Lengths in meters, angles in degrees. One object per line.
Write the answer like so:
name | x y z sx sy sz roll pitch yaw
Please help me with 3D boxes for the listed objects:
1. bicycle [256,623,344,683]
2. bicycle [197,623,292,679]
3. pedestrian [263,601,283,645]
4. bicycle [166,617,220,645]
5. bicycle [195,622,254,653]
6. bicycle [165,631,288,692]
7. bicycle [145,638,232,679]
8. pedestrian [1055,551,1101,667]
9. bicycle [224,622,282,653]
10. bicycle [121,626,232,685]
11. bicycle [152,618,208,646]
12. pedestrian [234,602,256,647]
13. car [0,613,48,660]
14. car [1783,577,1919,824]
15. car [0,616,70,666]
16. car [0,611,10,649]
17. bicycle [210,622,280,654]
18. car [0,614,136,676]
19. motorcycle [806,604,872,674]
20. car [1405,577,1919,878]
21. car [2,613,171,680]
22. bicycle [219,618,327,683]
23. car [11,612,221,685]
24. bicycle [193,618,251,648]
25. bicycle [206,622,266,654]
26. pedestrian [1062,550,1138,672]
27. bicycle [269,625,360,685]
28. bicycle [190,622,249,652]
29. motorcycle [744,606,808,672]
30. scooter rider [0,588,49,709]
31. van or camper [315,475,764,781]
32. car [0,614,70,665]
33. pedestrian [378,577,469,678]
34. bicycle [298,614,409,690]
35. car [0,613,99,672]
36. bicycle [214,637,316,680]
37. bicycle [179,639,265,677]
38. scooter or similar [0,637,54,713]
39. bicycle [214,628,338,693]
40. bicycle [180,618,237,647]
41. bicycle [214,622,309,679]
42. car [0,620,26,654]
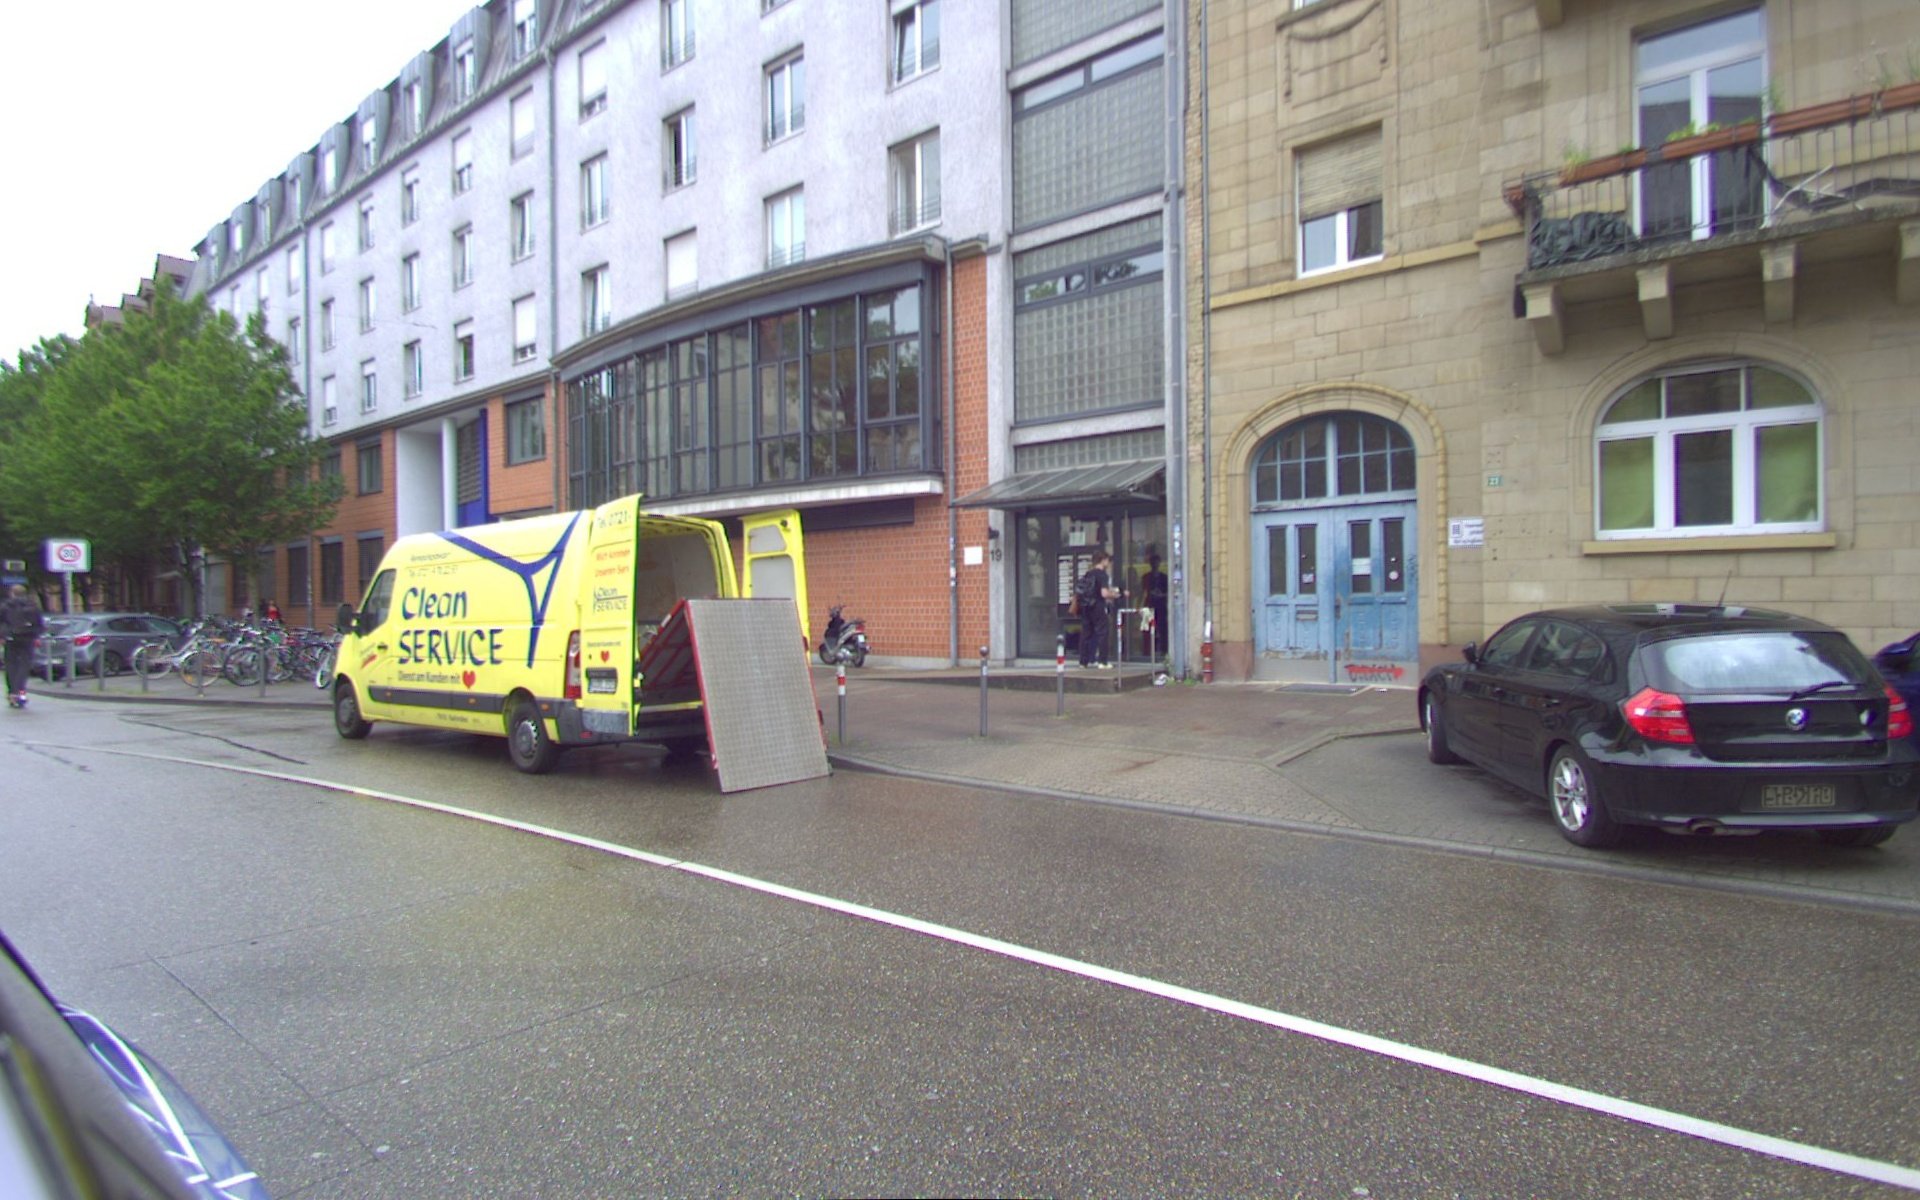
bicycle | -13.279 1.055 20.386 1.439 1.111 0.462 -2 1 -36
bicycle | -15.524 1.087 21.990 0.519 1.114 1.591 -1 1 35
pedestrian | -25.269 0.845 37.222 0.425 1.622 0.508 -1 -1 41
bicycle | -28.841 1.155 38.059 0.464 0.992 1.573 -1 -1 32
bicycle | -24.713 1.248 34.035 0.444 0.992 1.573 -1 -1 32
bicycle | -13.795 1.132 19.078 0.519 1.000 1.778 -1 1 38
bicycle | -17.134 1.288 22.499 0.497 0.811 1.454 -1 1 43
pedestrian | 1.831 0.138 15.734 0.467 1.761 0.608 0 -2 -24
bicycle | -23.847 1.256 34.168 0.444 0.992 1.573 -1 -1 32
bicycle | -16.591 1.145 21.467 0.472 1.114 1.791 -1 1 35
bicycle | -28.532 1.147 37.033 0.464 0.992 1.573 -1 -1 32
pedestrian | -25.926 0.890 36.703 0.372 1.622 0.598 -1 -1 39
car | -33.060 1.268 34.567 1.138 1.567 2.672 -1 0 11
car | 6.917 0.633 5.731 1.780 1.585 4.029 -1 -1 11
car | -29.077 1.250 31.125 1.177 1.461 2.502 -1 0 0
car | -48.720 1.465 48.843 1.666 1.910 4.330 0 -1 -1
bicycle | -23.389 1.245 33.131 0.444 0.992 1.831 -1 -1 32
car | -24.253 1.182 27.365 1.432 1.514 3.078 -1 0 0
motorcycle | -2.235 0.687 18.471 0.516 1.190 1.763 -1 0 -30
car | 4.739 0.673 7.184 1.777 1.523 4.034 0 -1 7
car | -22.154 1.140 25.812 1.436 1.514 3.070 -1 0 9
bicycle | -14.068 1.006 20.782 0.517 1.203 1.798 -1 1 27
car | -19.855 1.082 24.004 1.720 1.514 3.614 0 0 9
bicycle | -25.625 1.139 35.150 0.444 0.992 1.573 -1 -1 32
bicycle | -23.829 1.246 33.342 0.444 0.992 1.573 -1 -1 32
pedestrian | 2.103 0.164 15.165 0.785 1.741 0.997 -1 -1 31
bicycle | -12.678 1.063 19.899 0.418 1.072 1.442 -1 1 44
bicycle | -25.287 1.249 34.583 0.444 0.992 1.573 -1 -1 32
motorcycle | -3.529 0.718 19.315 0.516 1.190 2.010 -1 0 -30
scooter rider | -15.433 0.784 16.549 0.503 1.950 0.704 -1 -2 38
van or camper | -4.980 0.299 11.436 5.936 2.631 2.174 -1 -2 40
car | -30.949 1.281 32.794 1.358 1.567 2.971 -1 0 11
pedestrian | -10.876 0.532 20.524 1.054 1.894 1.213 -1 3 40
bicycle | -11.211 0.938 18.788 0.760 1.225 1.917 0 3 5
car | -26.671 1.187 28.969 1.432 1.564 3.078 -1 0 0
bicycle | -14.504 1.213 21.172 0.455 0.767 1.757 -1 1 27
bicycle | -16.355 1.283 22.454 0.497 0.727 1.454 -1 1 43
scooter or similar | -15.414 1.196 16.531 1.383 1.174 0.694 -1 -1 39
bicycle | -12.792 1.103 18.973 1.832 1.081 0.610 -2 1 -45
bicycle | -26.583 1.142 35.820 0.464 0.992 1.573 -1 -1 32
bicycle | -14.938 1.059 21.683 0.517 1.114 1.596 -1 1 27
car | -43.505 1.625 44.556 1.662 1.502 3.798 0 -1 -10
